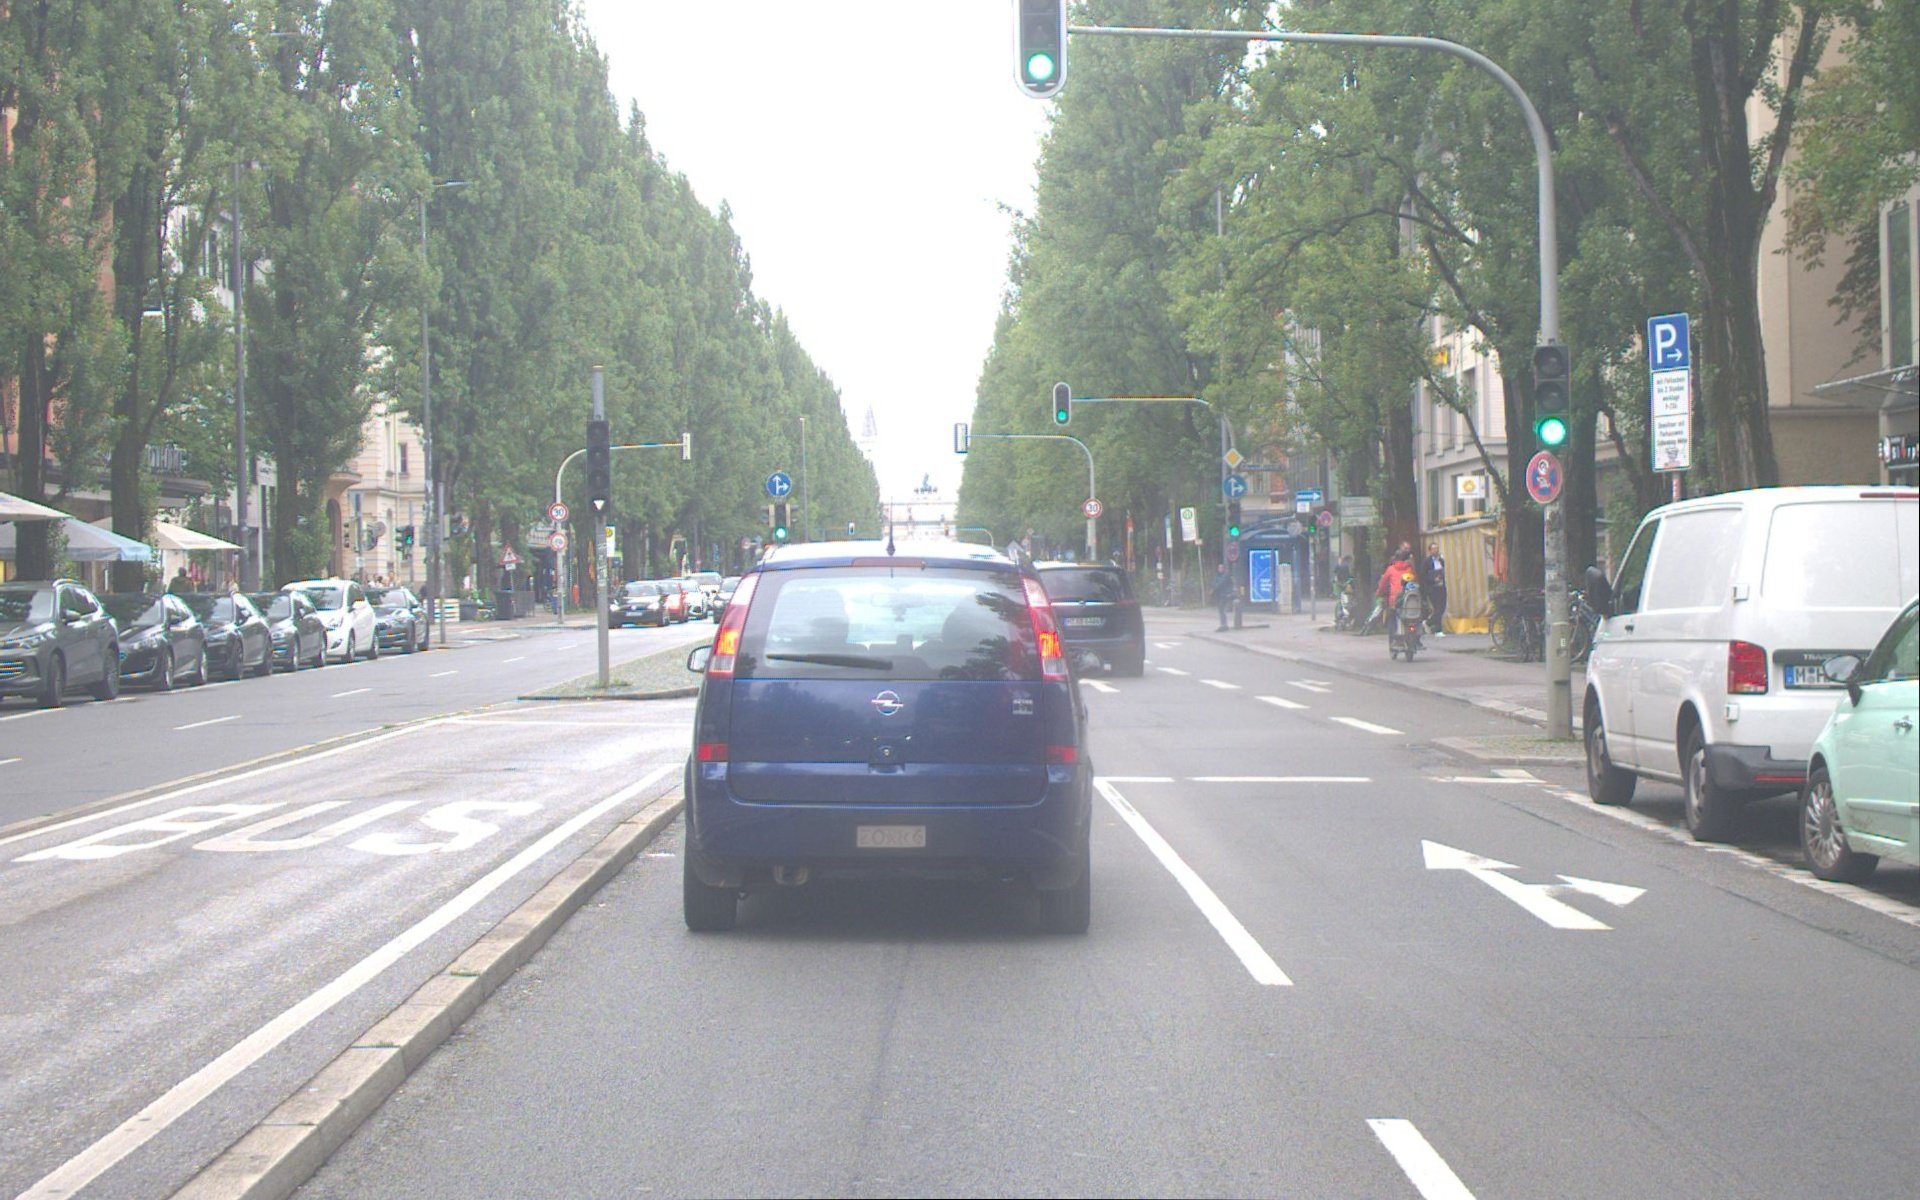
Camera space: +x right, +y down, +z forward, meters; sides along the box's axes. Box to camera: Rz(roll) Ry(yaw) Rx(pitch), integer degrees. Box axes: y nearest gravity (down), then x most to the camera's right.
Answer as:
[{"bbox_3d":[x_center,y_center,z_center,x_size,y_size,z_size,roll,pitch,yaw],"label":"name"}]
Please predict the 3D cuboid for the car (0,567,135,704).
[{"bbox_3d":[-12.251,0.446,44.892,1.866,1.660,4.401,-2,1,-1],"label":"car"}]

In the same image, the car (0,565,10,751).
[{"bbox_3d":[-9.261,0.561,28.155,1.770,1.629,4.456,-2,1,-1],"label":"car"}]

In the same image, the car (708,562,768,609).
[{"bbox_3d":[-7.146,-0.486,110.834,1.735,1.460,3.365,-1,1,-1],"label":"car"}]

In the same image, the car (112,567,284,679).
[{"bbox_3d":[-12.371,0.342,56.065,1.866,1.660,4.120,-2,1,-1],"label":"car"}]

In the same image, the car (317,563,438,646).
[{"bbox_3d":[-12.523,0.068,74.128,1.866,1.660,4.120,-2,1,-1],"label":"car"}]

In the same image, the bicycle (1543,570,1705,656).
[{"bbox_3d":[9.743,0.186,50.453,2.227,1.200,0.626,-1,1,-2],"label":"bicycle"}]

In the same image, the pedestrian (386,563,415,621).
[{"bbox_3d":[-17.055,-0.247,104.738,0.767,1.760,0.885,-1,1,-14],"label":"pedestrian"}]

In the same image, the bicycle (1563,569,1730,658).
[{"bbox_3d":[9.747,0.191,48.845,2.227,1.200,0.626,-1,1,-2],"label":"bicycle"}]

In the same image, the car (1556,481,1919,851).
[{"bbox_3d":[4.877,0.316,20.464,1.787,1.939,4.731,0,1,-1],"label":"car"}]

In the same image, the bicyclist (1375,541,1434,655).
[{"bbox_3d":[6.929,-0.035,53.651,0.767,1.760,0.885,-1,0,-1],"label":"bicyclist"}]

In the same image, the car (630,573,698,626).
[{"bbox_3d":[-9.666,-0.038,112.397,1.866,1.660,4.120,-1,1,-1],"label":"car"}]

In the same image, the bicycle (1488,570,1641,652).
[{"bbox_3d":[9.381,0.164,53.366,2.227,1.200,0.626,-1,1,-2],"label":"bicycle"}]

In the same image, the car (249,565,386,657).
[{"bbox_3d":[-12.449,0.188,66.852,1.866,1.660,4.120,-2,1,-1],"label":"car"}]

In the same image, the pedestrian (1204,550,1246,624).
[{"bbox_3d":[6.370,-0.325,82.744,0.882,1.760,0.770,-1,0,-3],"label":"pedestrian"}]

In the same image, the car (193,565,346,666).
[{"bbox_3d":[-12.325,0.256,61.591,1.866,1.660,4.120,-2,1,-1],"label":"car"}]

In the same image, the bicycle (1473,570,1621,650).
[{"bbox_3d":[9.342,0.155,54.744,2.227,1.200,0.626,-1,1,-2],"label":"bicycle"}]

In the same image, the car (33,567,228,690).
[{"bbox_3d":[-12.238,0.385,50.985,1.866,1.660,4.120,-2,1,-1],"label":"car"}]

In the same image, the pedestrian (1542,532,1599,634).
[{"bbox_3d":[10.989,-0.307,61.874,0.719,1.820,0.888,1,0,-10],"label":"pedestrian"}]

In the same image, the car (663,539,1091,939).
[{"bbox_3d":[-0.333,0.519,15.432,1.671,1.563,4.000,0,1,0],"label":"car"}]

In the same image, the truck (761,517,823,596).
[{"bbox_3d":[-7.314,-1.907,150.594,2.383,3.335,7.111,-1,1,-1],"label":"truck"}]

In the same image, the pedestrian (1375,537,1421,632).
[{"bbox_3d":[8.486,-0.306,66.609,0.636,1.820,0.888,1,0,-10],"label":"pedestrian"}]

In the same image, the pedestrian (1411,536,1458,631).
[{"bbox_3d":[9.226,-0.323,66.896,0.636,1.820,0.888,1,0,-10],"label":"pedestrian"}]

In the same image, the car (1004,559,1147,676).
[{"bbox_3d":[1.618,0.215,49.306,1.896,1.616,4.000,0,1,0],"label":"car"}]

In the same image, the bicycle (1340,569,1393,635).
[{"bbox_3d":[8.508,0.021,72.064,0.772,1.344,2.449,-1,1,-1],"label":"bicycle"}]

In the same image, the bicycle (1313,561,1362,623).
[{"bbox_3d":[8.440,-0.195,77.040,0.772,1.344,2.449,-1,1,-1],"label":"bicycle"}]

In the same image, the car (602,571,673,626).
[{"bbox_3d":[-10.089,-0.065,107.865,1.866,1.660,4.120,-1,1,-1],"label":"car"}]

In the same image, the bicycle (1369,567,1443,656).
[{"bbox_3d":[6.934,0.166,53.530,0.772,1.344,2.449,-1,1,-1],"label":"bicycle"}]

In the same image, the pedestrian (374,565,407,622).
[{"bbox_3d":[-17.667,-0.198,106.669,0.767,1.760,0.885,-1,1,-25],"label":"pedestrian"}]

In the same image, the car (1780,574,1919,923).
[{"bbox_3d":[4.867,0.628,15.443,1.541,1.487,3.523,0,0,0],"label":"car"}]
